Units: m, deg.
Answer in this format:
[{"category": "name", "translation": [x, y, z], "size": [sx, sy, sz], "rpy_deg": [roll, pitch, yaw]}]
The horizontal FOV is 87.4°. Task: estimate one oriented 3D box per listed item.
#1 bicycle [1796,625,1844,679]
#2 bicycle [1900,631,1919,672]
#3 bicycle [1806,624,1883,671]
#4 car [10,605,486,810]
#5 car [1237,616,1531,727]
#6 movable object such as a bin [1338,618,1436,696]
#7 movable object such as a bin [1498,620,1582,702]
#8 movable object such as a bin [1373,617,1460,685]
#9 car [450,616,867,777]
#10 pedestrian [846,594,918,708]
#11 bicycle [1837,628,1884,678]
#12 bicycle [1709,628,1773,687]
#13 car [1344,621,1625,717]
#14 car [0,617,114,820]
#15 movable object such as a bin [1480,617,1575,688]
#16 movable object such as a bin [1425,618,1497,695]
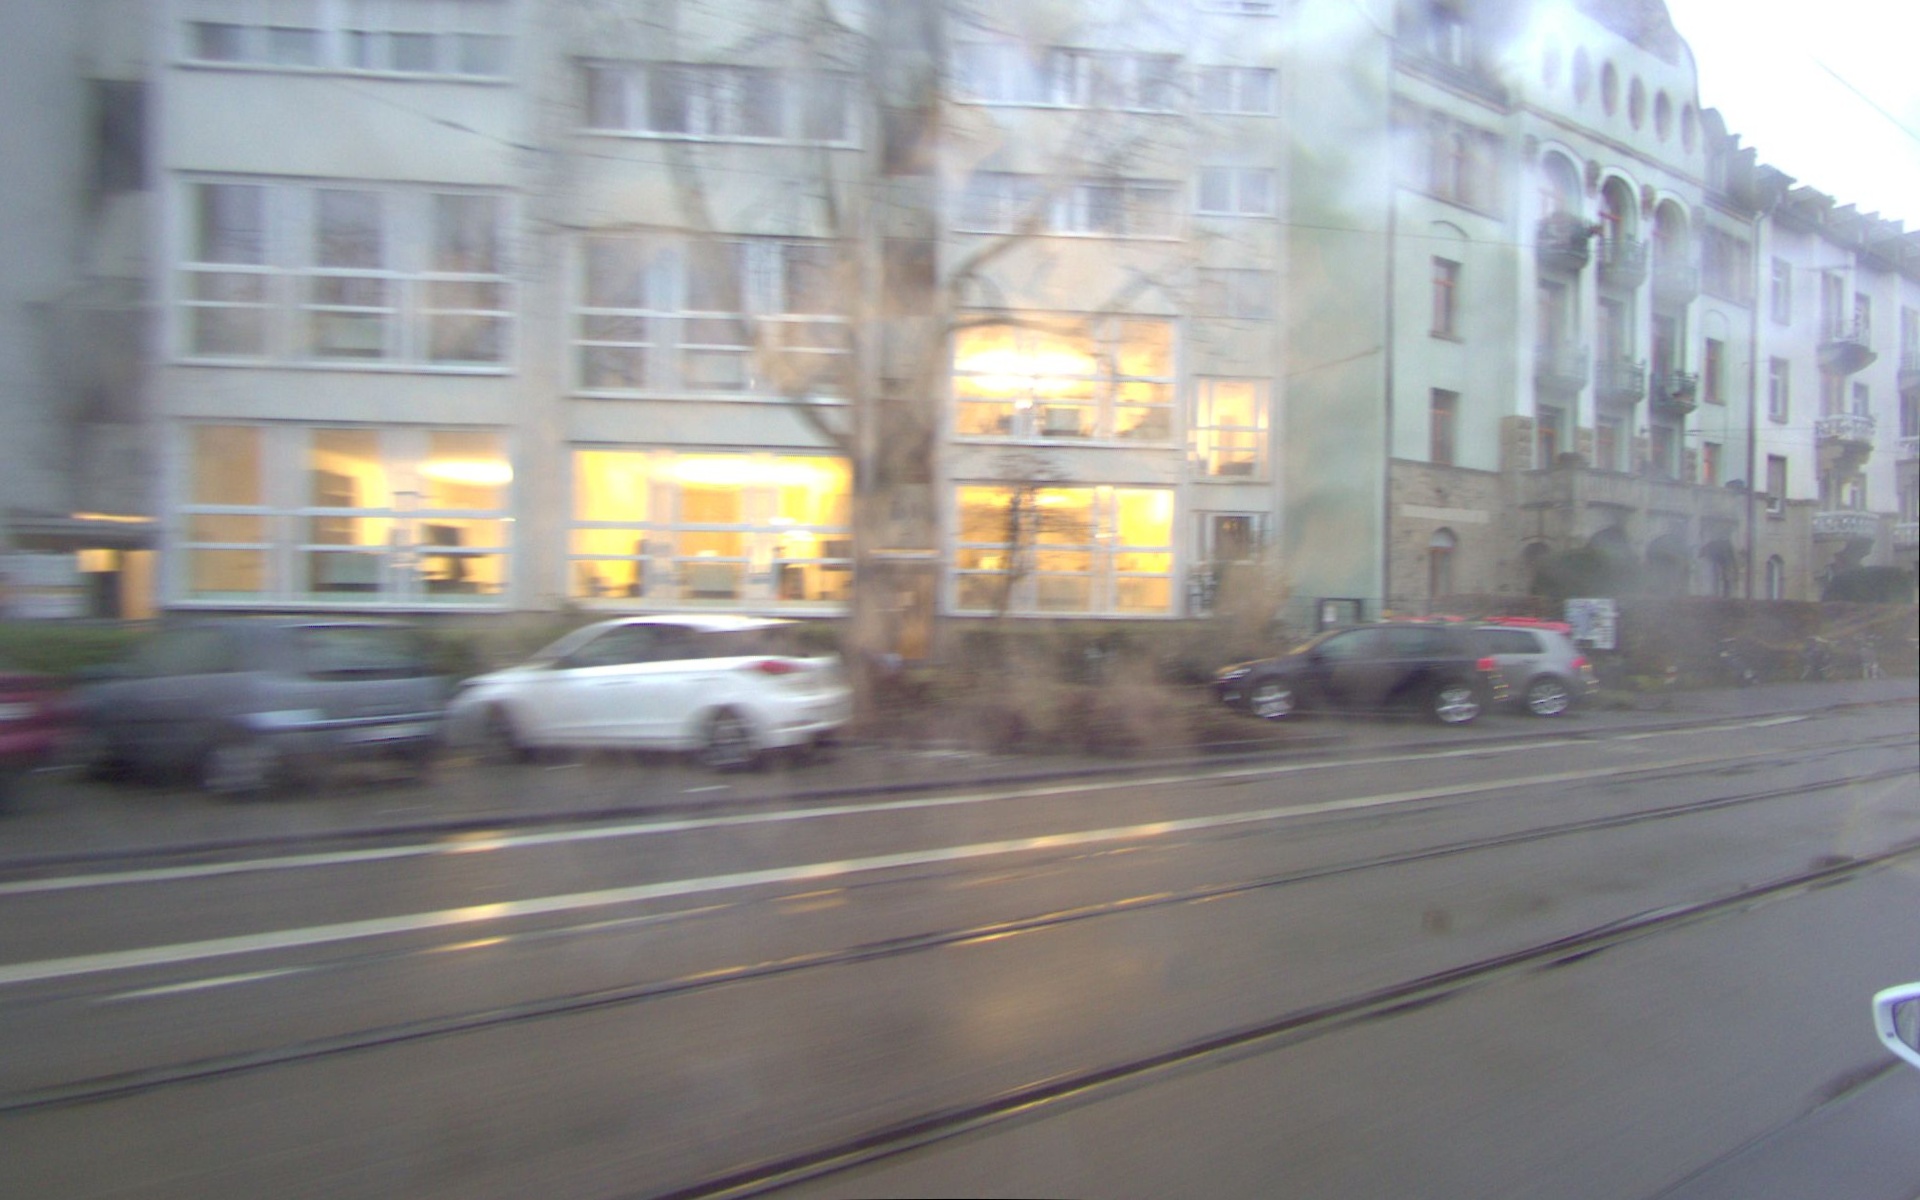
[{"category": "bicycle", "translation": [20.766, 1.238, 24.233], "size": [1.583, 1.228, 0.624], "rpy_deg": [0, -1, -40]}, {"category": "bicycle", "translation": [26.797, 1.449, 27.992], "size": [1.582, 1.044, 0.686], "rpy_deg": [6, -4, -40]}, {"category": "bicycle", "translation": [25.427, 1.360, 28.907], "size": [0.483, 1.280, 1.585], "rpy_deg": [6, -4, -26]}, {"category": "car", "translation": [-6.329, 0.821, 8.912], "size": [3.925, 1.482, 1.735], "rpy_deg": [0, -2, 25]}, {"category": "car", "translation": [6.286, 1.017, 15.380], "size": [3.919, 1.490, 1.832], "rpy_deg": [0, 0, 15]}, {"category": "movable object such as a bin", "translation": [8.469, 1.096, 19.967], "size": [1.306, 1.470, 1.260], "rpy_deg": [0, -1, -23]}, {"category": "movable object such as a bin", "translation": [11.049, 1.131, 19.127], "size": [1.247, 1.470, 1.107], "rpy_deg": [0, -1, 38]}, {"category": "movable object such as a bin", "translation": [10.318, 1.127, 22.720], "size": [1.306, 1.470, 1.260], "rpy_deg": [0, -1, -23]}, {"category": "car", "translation": [-3.041, 0.892, 10.373], "size": [3.775, 1.442, 1.738], "rpy_deg": [0, -1, 14]}, {"category": "pedestrian", "translation": [-1.201, 0.761, 15.478], "size": [0.962, 1.699, 0.594], "rpy_deg": [0, 0, -31]}, {"category": "bicycle", "translation": [23.152, 1.334, 25.821], "size": [1.583, 1.228, 0.686], "rpy_deg": [0, -1, -40]}, {"category": "bicycle", "translation": [17.096, 1.237, 21.969], "size": [1.581, 1.228, 0.687], "rpy_deg": [0, -1, -36]}, {"category": "car", "translation": [8.622, 1.096, 16.902], "size": [3.920, 1.447, 1.849], "rpy_deg": [0, -1, 17]}, {"category": "car", "translation": [-8.583, 0.800, 7.072], "size": [4.259, 1.370, 1.751], "rpy_deg": [0, -2, 12]}, {"category": "movable object such as a bin", "translation": [12.290, 1.113, 21.787], "size": [1.306, 1.470, 1.260], "rpy_deg": [0, -1, -23]}, {"category": "movable object such as a bin", "translation": [10.008, 1.097, 20.053], "size": [1.076, 1.470, 1.107], "rpy_deg": [0, -1, 39]}]
